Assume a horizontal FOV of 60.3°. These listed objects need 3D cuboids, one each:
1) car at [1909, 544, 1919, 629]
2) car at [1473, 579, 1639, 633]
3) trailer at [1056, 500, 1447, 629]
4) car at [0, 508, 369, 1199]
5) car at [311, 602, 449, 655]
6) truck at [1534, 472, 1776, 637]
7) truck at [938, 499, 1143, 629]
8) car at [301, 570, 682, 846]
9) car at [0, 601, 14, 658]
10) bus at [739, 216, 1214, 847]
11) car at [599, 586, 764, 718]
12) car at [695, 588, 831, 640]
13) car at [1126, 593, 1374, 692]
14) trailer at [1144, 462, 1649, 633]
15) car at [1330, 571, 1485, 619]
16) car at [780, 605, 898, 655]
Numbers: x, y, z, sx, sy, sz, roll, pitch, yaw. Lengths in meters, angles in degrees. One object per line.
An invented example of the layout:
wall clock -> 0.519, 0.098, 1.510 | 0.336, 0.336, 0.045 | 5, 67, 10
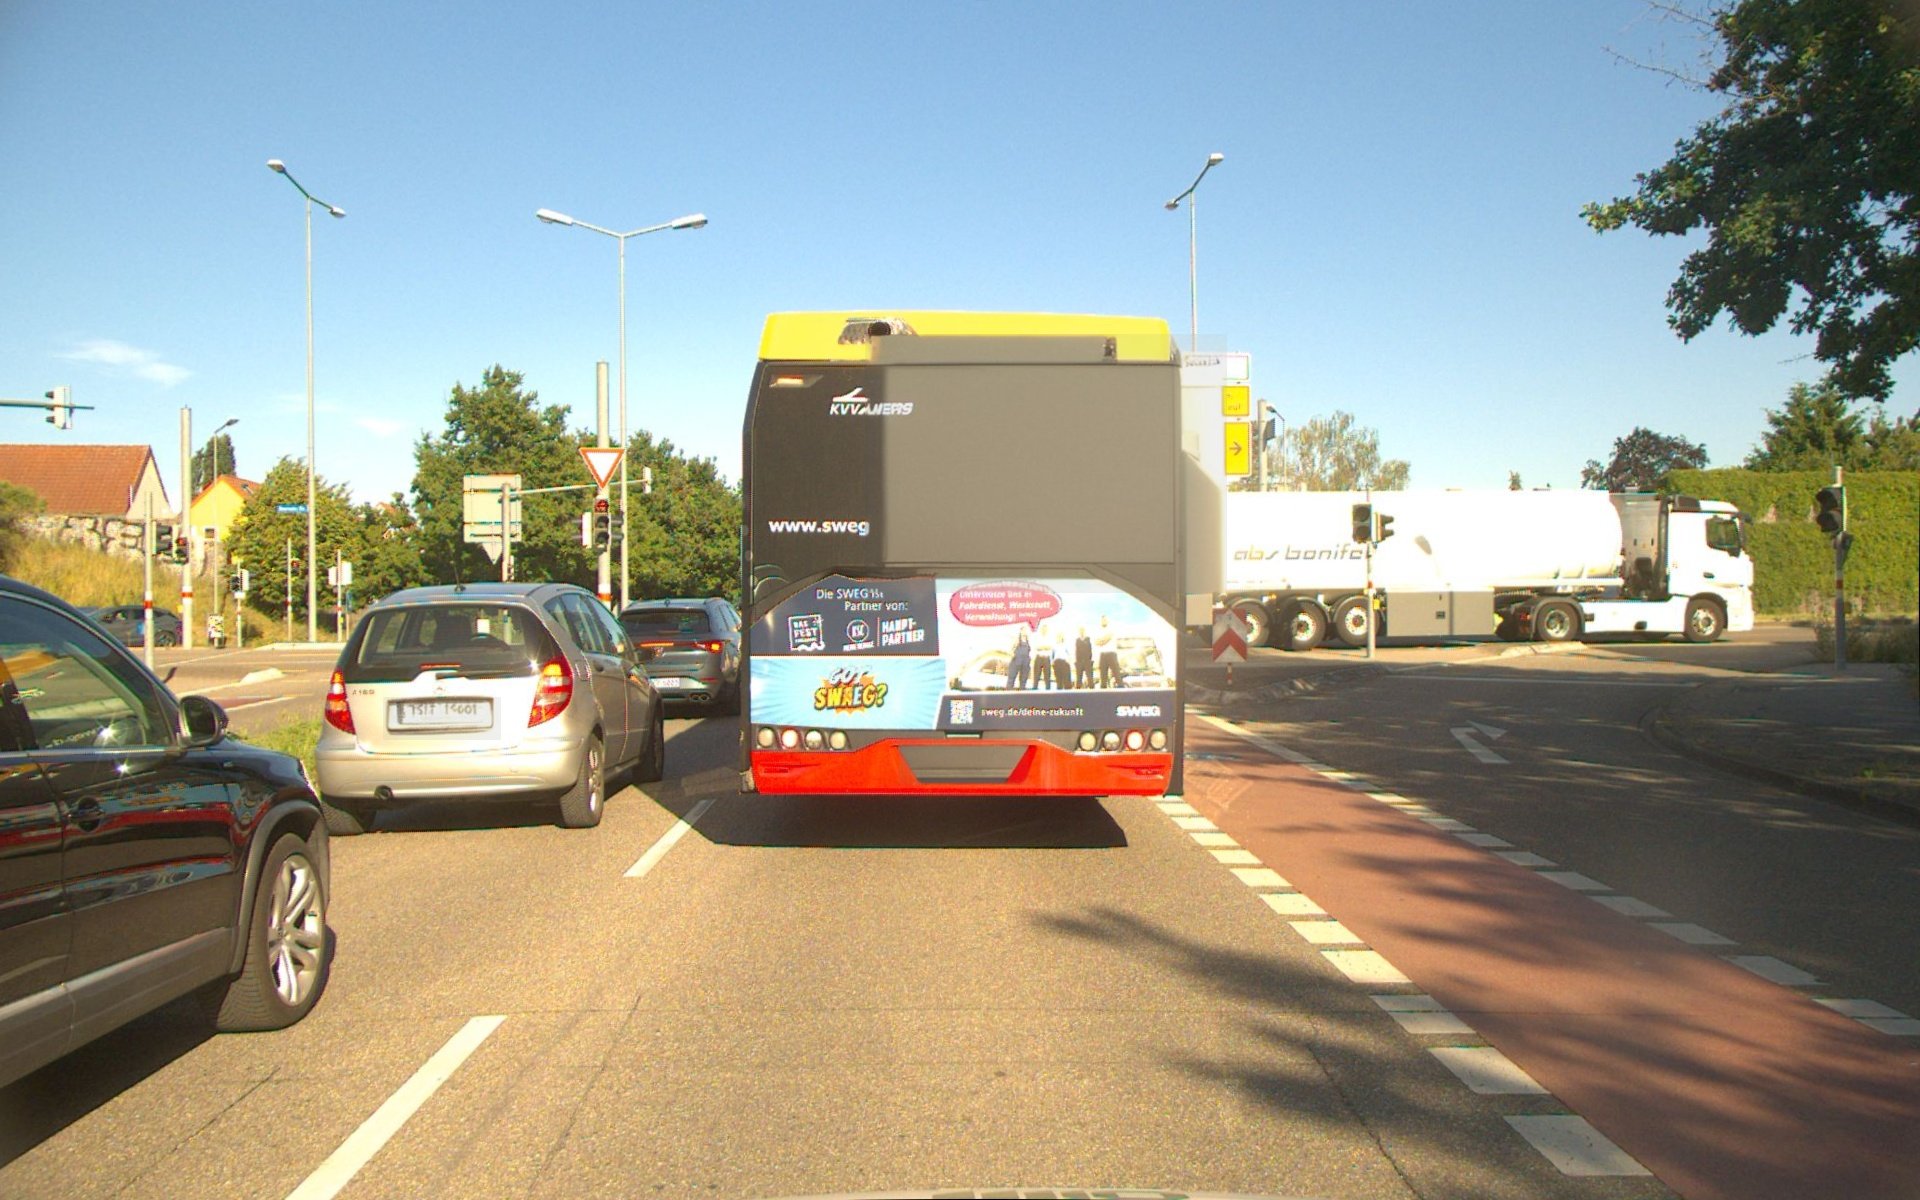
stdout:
car -> 16.622, -0.182, 25.912 | 3.355, 1.318, 1.448 | 1, -1, -26
car -> 15.345, 0.159, 42.643 | 3.776, 1.336, 1.504 | 0, -1, -10
trailer -> 9.534, -1.179, 54.362 | 12.492, 4.100, 2.466 | 0, 0, -8
car -> -3.156, 0.668, 4.367 | 1.784, 1.703, 4.001 | -2, -1, -1
car -> -18.807, 0.903, 53.759 | 3.910, 1.640, 1.693 | 0, 0, -7
truck -> 16.383, -1.060, 39.161 | 4.709, 3.760, 2.407 | 0, 0, -7
truck -> 2.552, -1.149, 53.438 | 6.277, 4.068, 2.469 | 0, 0, -8
car -> -3.199, 0.624, 12.138 | 1.718, 1.648, 4.033 | 0, 1, -1
car -> -25.615, 0.712, 40.566 | 3.775, 1.409, 1.679 | 1, -1, -10
bus -> 0.004, -0.387, 14.955 | 2.543, 3.393, 11.981 | 1, 0, -1
car -> -3.431, 0.619, 20.936 | 1.556, 1.512, 3.681 | -1, -1, -2
car -> -5.842, 0.423, 49.184 | 3.911, 1.467, 1.563 | 1, -1, -7
car -> 4.204, 0.598, 24.247 | 3.447, 1.325, 1.576 | 1, 1, 8
trailer -> 10.030, -1.207, 38.285 | 11.258, 3.761, 2.391 | 0, 0, -8
car -> 12.969, -0.132, 48.063 | 4.078, 1.325, 1.573 | 1, -1, -4
car -> -4.113, 1.001, 55.910 | 3.910, 1.640, 1.693 | 0, 0, -7
